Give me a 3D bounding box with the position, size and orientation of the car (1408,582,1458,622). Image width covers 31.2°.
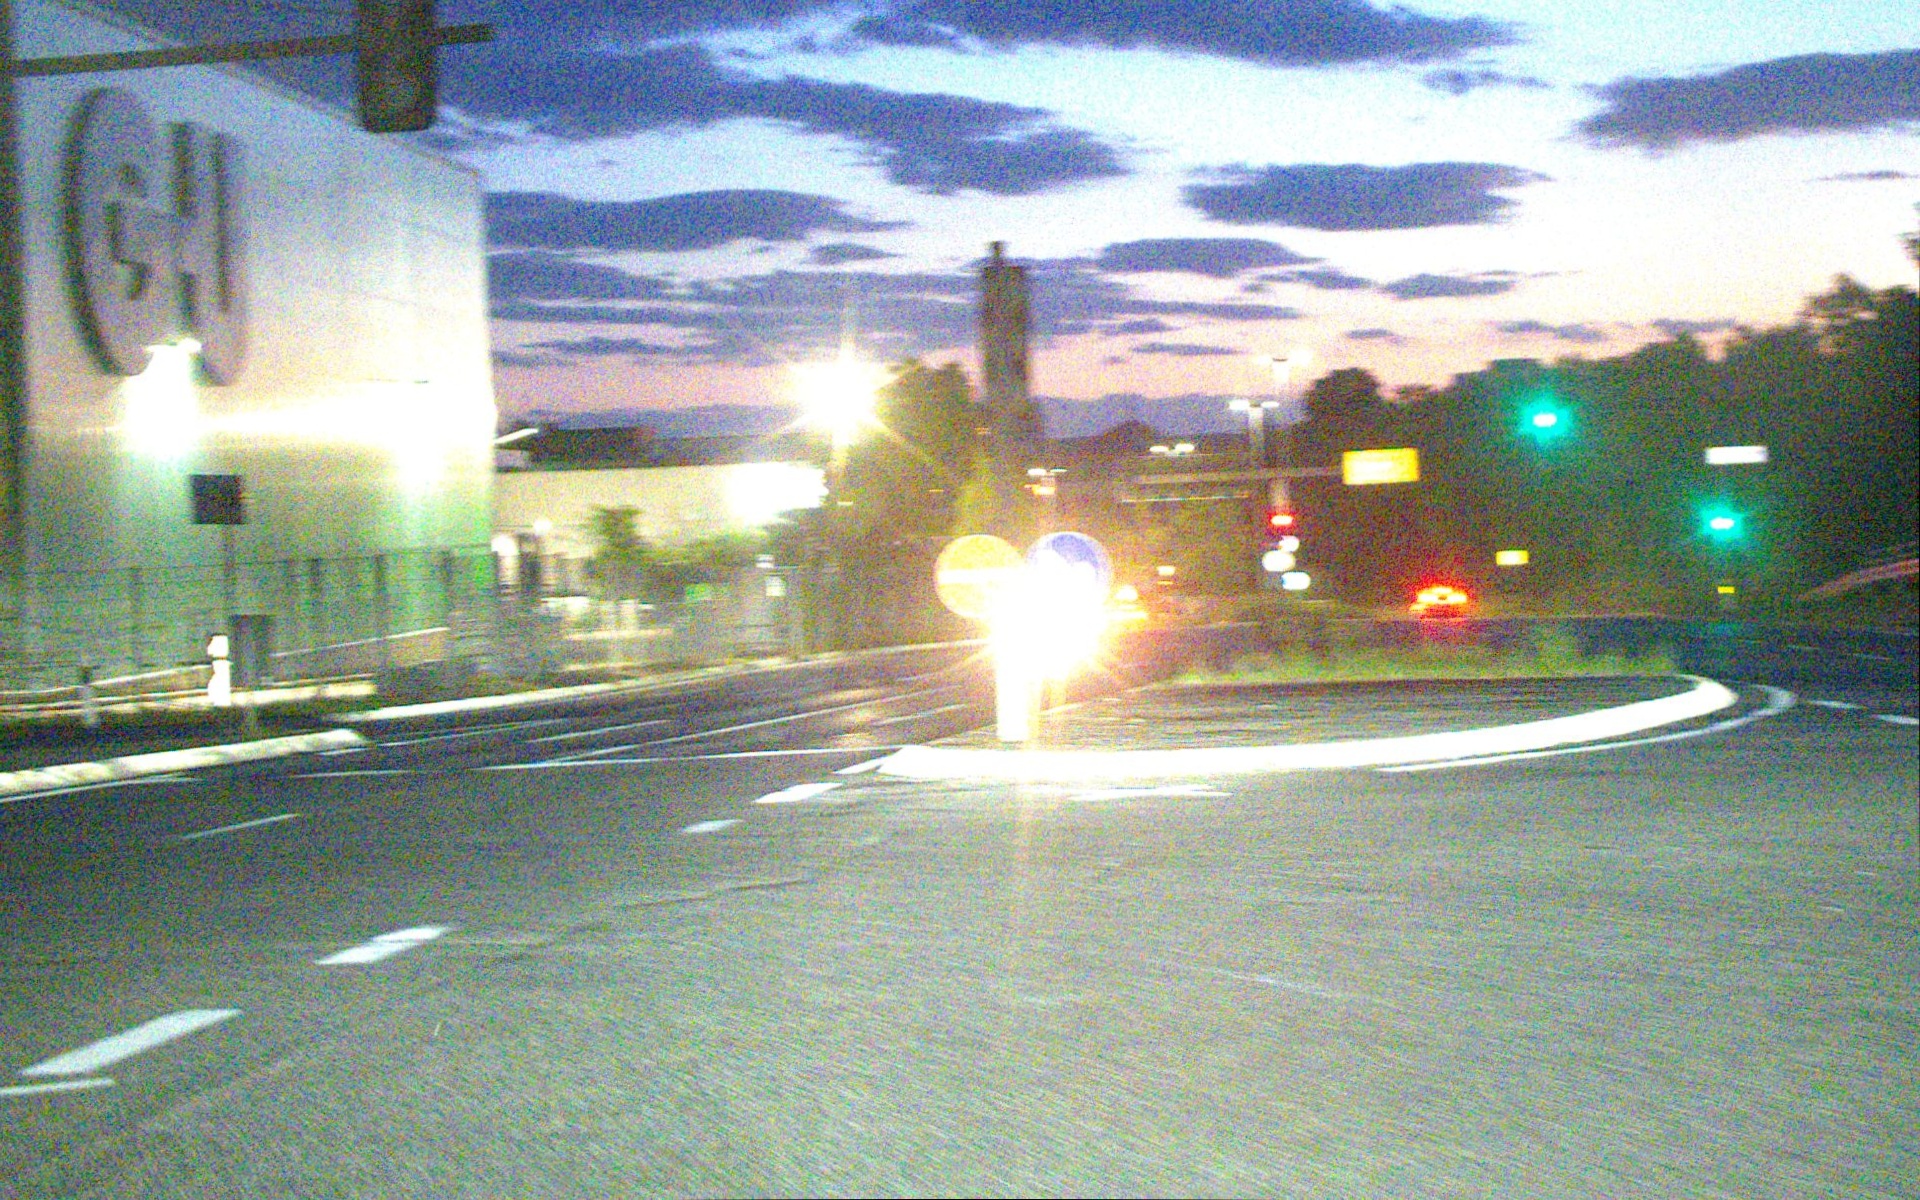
[{"bbox_3d":[21.428,0.080,155.943,1.935,1.640,4.000,-2,1,4],"label":"car"}]
